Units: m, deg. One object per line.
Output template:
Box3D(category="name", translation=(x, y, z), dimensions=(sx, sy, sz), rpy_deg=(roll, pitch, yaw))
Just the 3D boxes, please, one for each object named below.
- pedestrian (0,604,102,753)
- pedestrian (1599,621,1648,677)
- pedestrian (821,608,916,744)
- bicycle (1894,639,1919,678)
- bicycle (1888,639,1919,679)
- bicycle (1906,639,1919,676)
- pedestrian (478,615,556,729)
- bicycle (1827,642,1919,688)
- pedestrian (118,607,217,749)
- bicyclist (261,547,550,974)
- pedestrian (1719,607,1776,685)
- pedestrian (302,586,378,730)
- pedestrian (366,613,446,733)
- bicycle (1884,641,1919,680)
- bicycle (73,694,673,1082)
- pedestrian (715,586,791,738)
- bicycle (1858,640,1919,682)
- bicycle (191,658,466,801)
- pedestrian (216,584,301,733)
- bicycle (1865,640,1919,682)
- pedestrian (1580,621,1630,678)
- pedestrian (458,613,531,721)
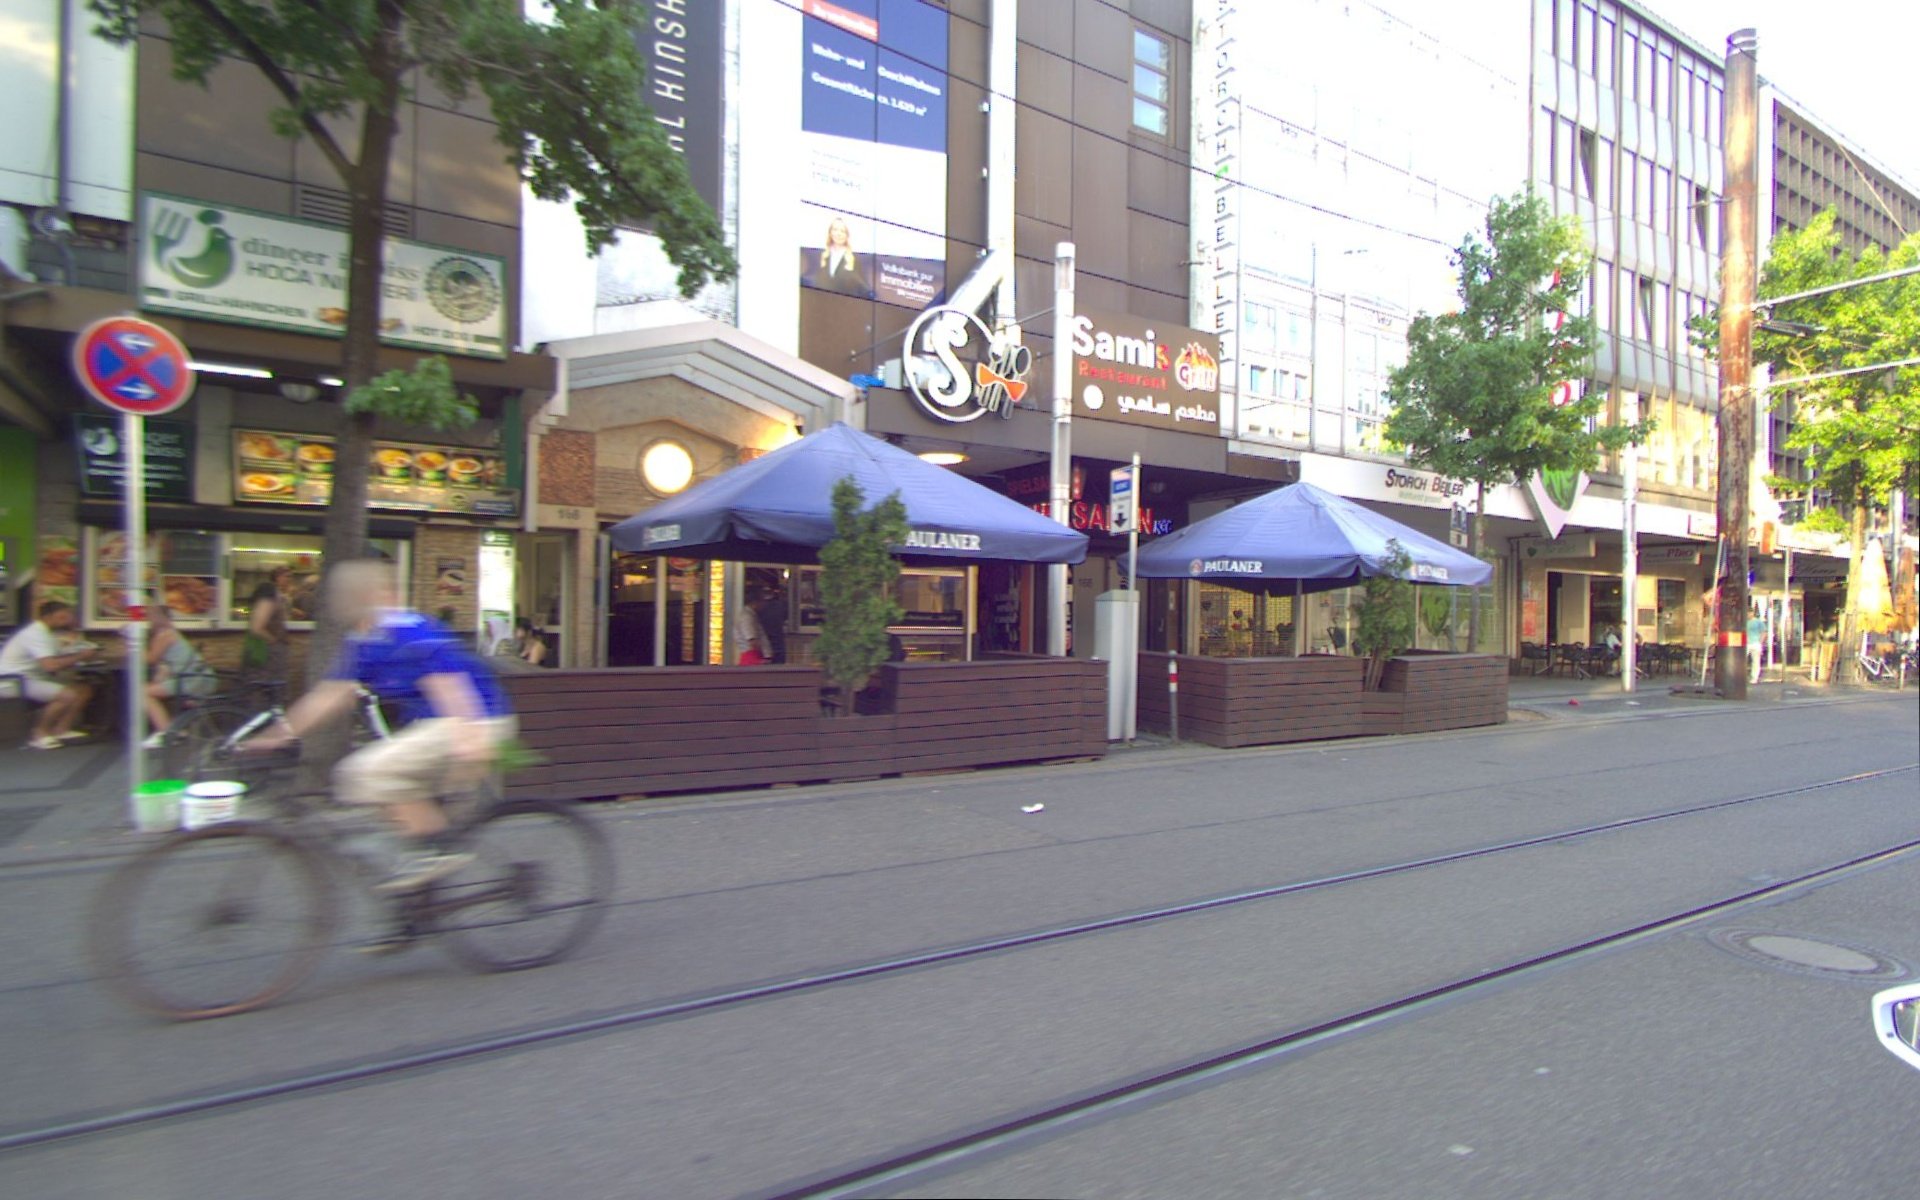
Box3D(category="pedestrian", translation=(-8.286, 0.695, 9.116), dimensions=(0.659, 1.244, 0.637), rpy_deg=(2, 3, -33))
Box3D(category="pedestrian", translation=(16.720, 1.219, 25.314), dimensions=(0.902, 1.343, 0.666), rpy_deg=(2, 1, -33))
Box3D(category="pedestrian", translation=(-1.033, 0.827, 11.255), dimensions=(0.738, 1.420, 0.760), rpy_deg=(2, 1, -32))
Box3D(category="bicycle", translation=(27.899, 1.705, 28.656), dimensions=(0.485, 1.085, 1.759), rpy_deg=(0, 2, -36))
Box3D(category="bicycle", translation=(27.425, 1.689, 28.336), dimensions=(0.485, 1.085, 1.759), rpy_deg=(0, 2, -36))
Box3D(category="bicycle", translation=(28.913, 1.737, 29.351), dimensions=(0.485, 1.085, 1.759), rpy_deg=(0, 2, -36))
Box3D(category="pedestrian", translation=(-4.877, 0.774, 11.039), dimensions=(0.659, 1.172, 0.637), rpy_deg=(2, 1, -33))
Box3D(category="bicycle", translation=(22.441, 1.574, 24.652), dimensions=(0.481, 0.979, 1.772), rpy_deg=(2, 1, -14))
Box3D(category="pedestrian", translation=(-7.490, 0.720, 9.519), dimensions=(0.659, 1.244, 0.637), rpy_deg=(2, 3, -33))
Box3D(category="bicyclist", translation=(-2.129, 0.539, 3.916), dimensions=(0.887, 1.434, 0.755), rpy_deg=(1, 1, -29))
Box3D(category="pedestrian", translation=(19.050, 1.100, 24.299), dimensions=(0.978, 1.816, 0.681), rpy_deg=(2, 1, -29))
Box3D(category="pedestrian", translation=(-6.657, 0.607, 10.797), dimensions=(0.636, 1.453, 0.657), rpy_deg=(2, 3, -31))
Box3D(category="pedestrian", translation=(-5.794, 0.745, 10.504), dimensions=(0.659, 1.172, 0.637), rpy_deg=(2, 1, -33))
Box3D(category="bicycle", translation=(26.253, 1.656, 27.189), dimensions=(0.485, 1.003, 1.759), rpy_deg=(0, 2, -36))
Box3D(category="bicycle", translation=(-2.146, 0.977, 3.921), dimensions=(1.843, 1.088, 0.727), rpy_deg=(1, 1, -30))
Box3D(category="pedestrian", translation=(-2.250, 0.655, 10.902), dimensions=(0.559, 1.573, 0.652), rpy_deg=(2, 2, -33))
Box3D(category="bicycle", translation=(24.628, 1.605, 26.169), dimensions=(0.485, 1.003, 1.759), rpy_deg=(0, 2, -36))
Box3D(category="bicycle", translation=(-5.008, 0.983, 8.092), dimensions=(0.472, 0.938, 1.819), rpy_deg=(2, 1, 38))
Box3D(category="pedestrian", translation=(-7.255, 0.588, 10.411), dimensions=(0.636, 1.453, 0.657), rpy_deg=(2, 3, -31))
Box3D(category="bicycle", translation=(25.067, 1.619, 26.453), dimensions=(0.485, 1.003, 1.759), rpy_deg=(0, 2, -36))
Box3D(category="pedestrian", translation=(15.781, 1.202, 24.582), dimensions=(0.902, 1.343, 0.666), rpy_deg=(2, 1, -33))
Box3D(category="pedestrian", translation=(-5.407, 0.765, 11.658), dimensions=(0.659, 1.172, 0.637), rpy_deg=(2, 1, -33))
